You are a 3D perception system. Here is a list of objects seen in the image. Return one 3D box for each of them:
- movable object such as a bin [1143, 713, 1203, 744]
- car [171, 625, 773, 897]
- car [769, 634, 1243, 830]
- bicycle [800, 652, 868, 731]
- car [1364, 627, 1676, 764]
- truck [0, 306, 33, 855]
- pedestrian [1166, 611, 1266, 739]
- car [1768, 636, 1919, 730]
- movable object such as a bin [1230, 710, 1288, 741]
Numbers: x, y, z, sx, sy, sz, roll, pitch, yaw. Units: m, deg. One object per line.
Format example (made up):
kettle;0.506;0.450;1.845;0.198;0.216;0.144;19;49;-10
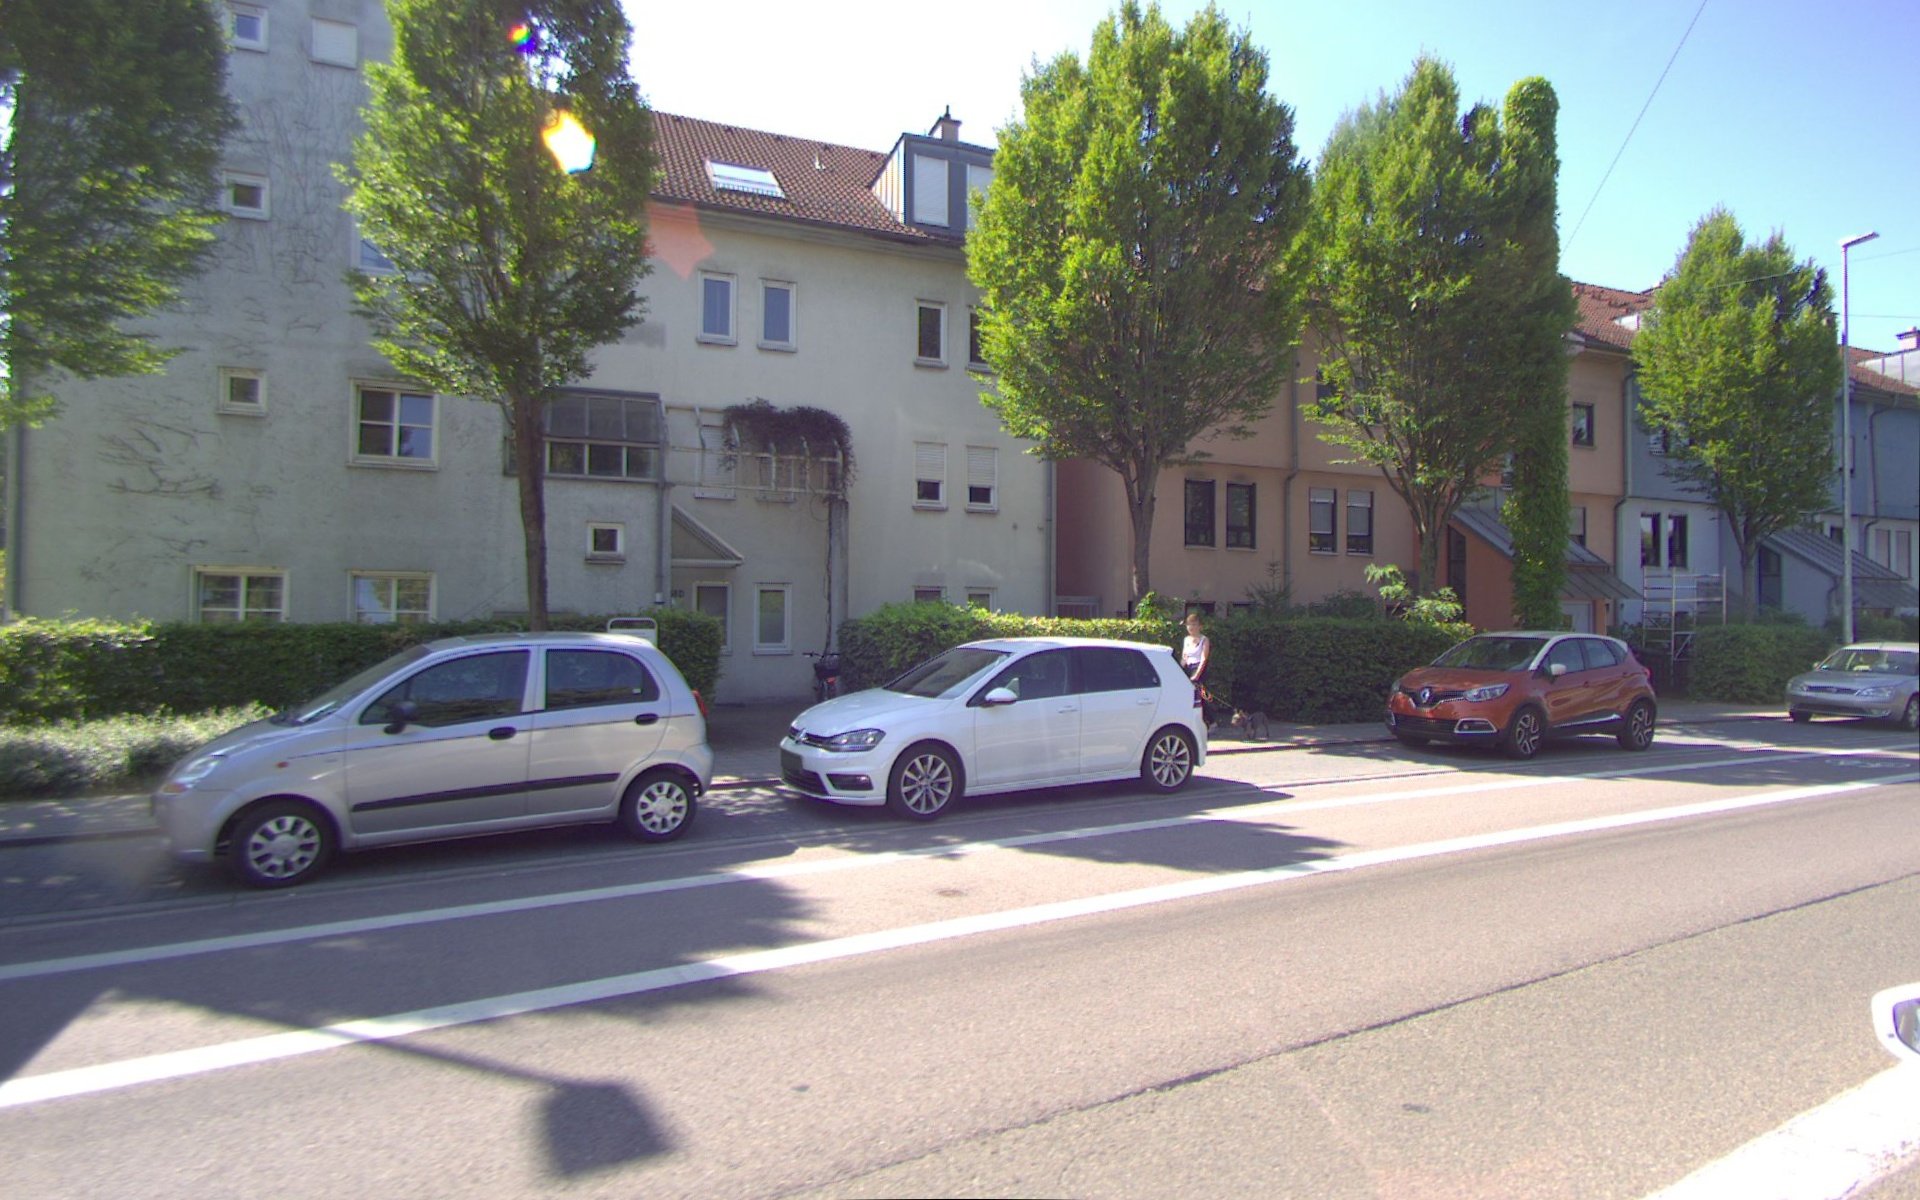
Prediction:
movable object such as a bin;2.799;1.676;13.184;0.747;0.343;0.325;1;-2;-30
car;-3.371;0.970;7.368;3.595;1.503;1.601;1;0;-32
car;0.504;1.076;9.536;4.230;1.448;1.749;1;0;-30
bicycle;-1.878;1.305;14.731;0.541;1.024;2.010;1;-2;-20
car;7.635;1.188;13.616;4.266;1.572;1.723;1;-1;-29
truck;-9.577;-0.181;3.781;8.488;3.577;2.654;1;0;-30
pedestrian;3.560;1.018;14.008;1.042;1.713;0.871;1;-2;-30
car;17.227;1.476;18.665;4.798;1.503;1.773;2;0;-29
movable object such as a bin;4.019;1.676;13.482;0.747;0.359;0.325;1;-2;-30
